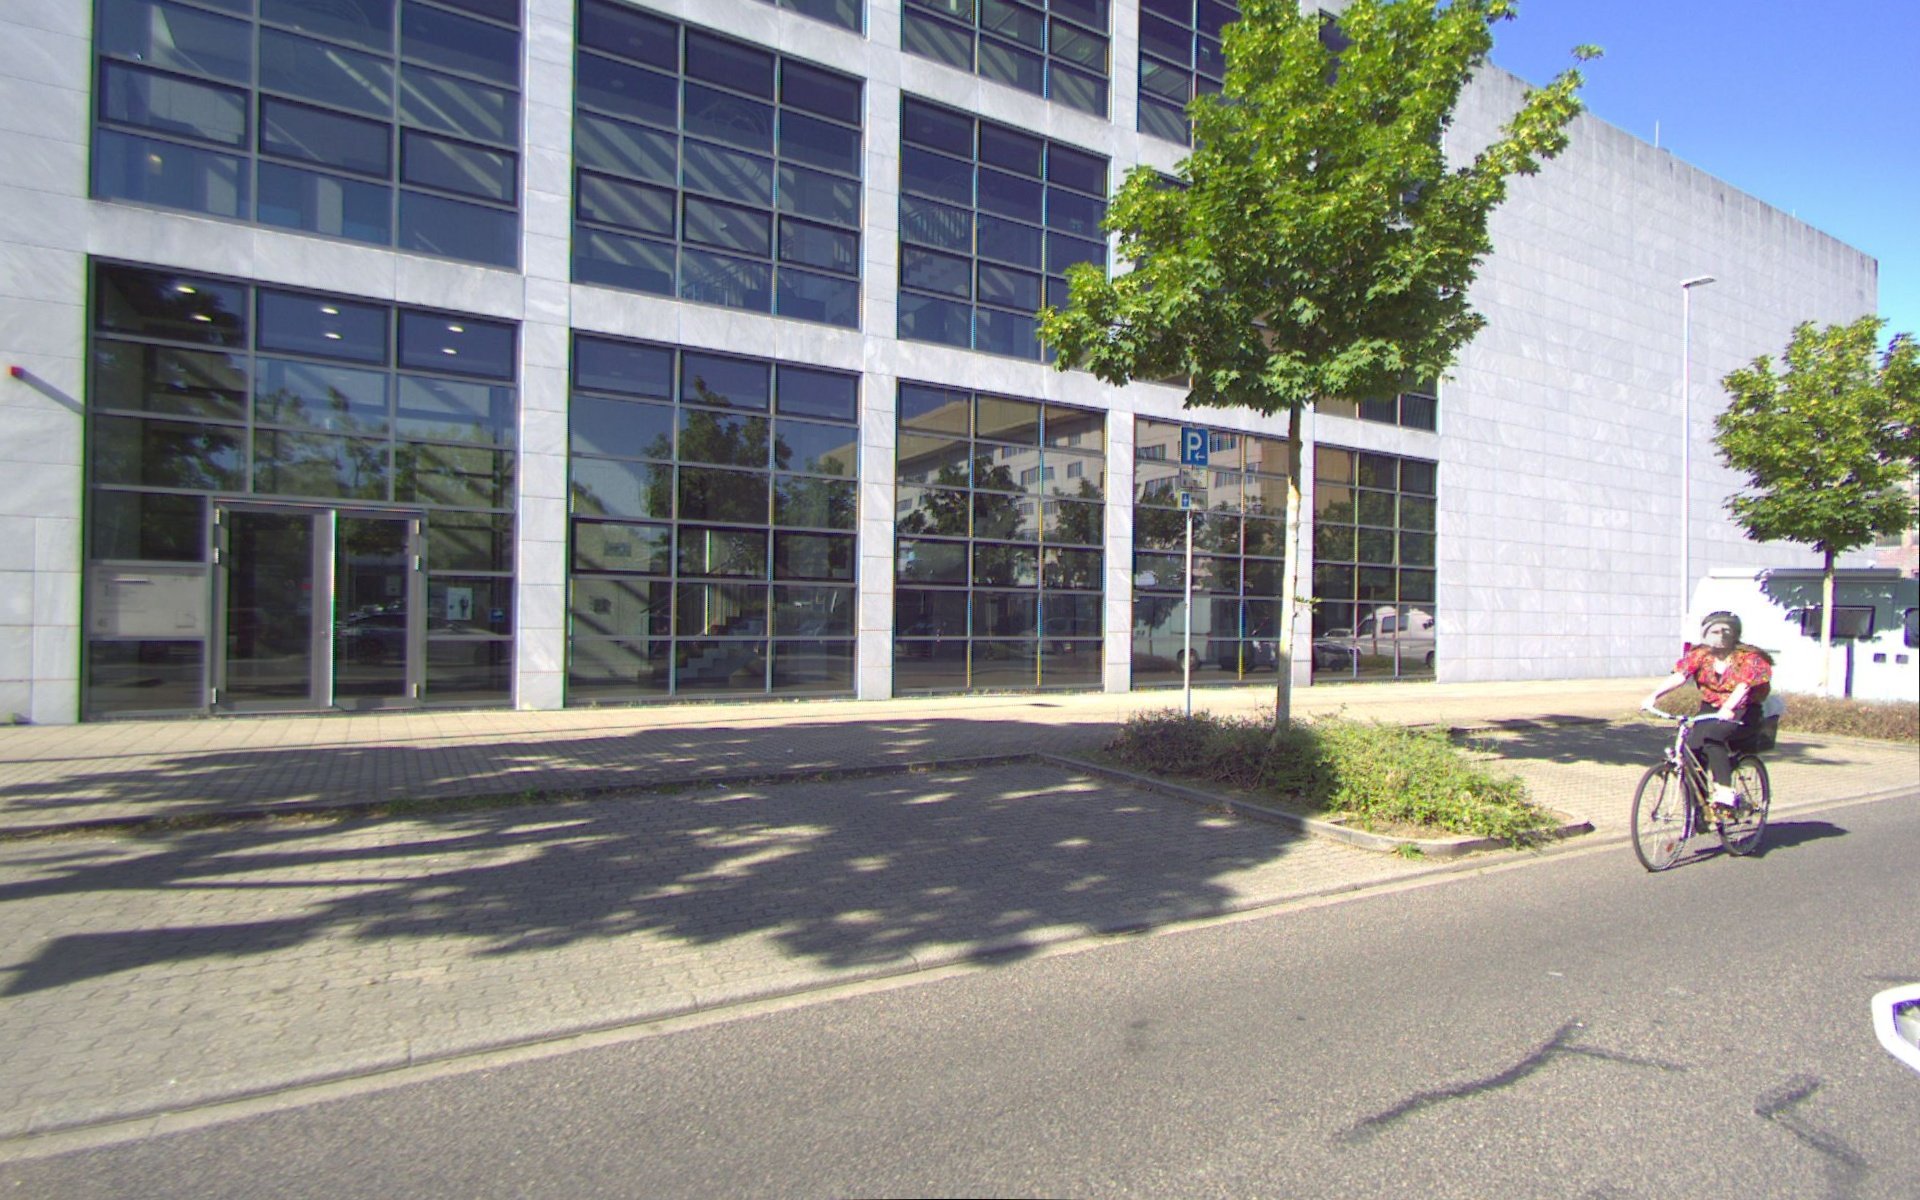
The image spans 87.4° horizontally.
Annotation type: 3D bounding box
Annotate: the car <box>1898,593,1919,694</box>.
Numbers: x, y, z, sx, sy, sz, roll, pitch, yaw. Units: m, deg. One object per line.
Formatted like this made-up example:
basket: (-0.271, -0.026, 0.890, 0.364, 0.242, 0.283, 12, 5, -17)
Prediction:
car: (25.249, 1.101, 22.716, 1.963, 2.442, 5.528, 1, 0, -28)

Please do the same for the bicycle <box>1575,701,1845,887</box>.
bicycle: (5.064, 1.231, 6.764, 1.849, 1.015, 0.754, 1, -3, -29)

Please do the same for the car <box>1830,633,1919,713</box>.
car: (19.659, 1.479, 19.474, 1.825, 1.491, 3.814, 1, 0, -28)

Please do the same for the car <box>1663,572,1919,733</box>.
car: (15.128, 0.808, 16.693, 2.097, 2.451, 5.225, 1, 1, -29)

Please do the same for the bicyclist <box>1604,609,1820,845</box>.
bicyclist: (5.080, 0.806, 6.794, 1.118, 1.450, 0.754, 1, -3, -29)
